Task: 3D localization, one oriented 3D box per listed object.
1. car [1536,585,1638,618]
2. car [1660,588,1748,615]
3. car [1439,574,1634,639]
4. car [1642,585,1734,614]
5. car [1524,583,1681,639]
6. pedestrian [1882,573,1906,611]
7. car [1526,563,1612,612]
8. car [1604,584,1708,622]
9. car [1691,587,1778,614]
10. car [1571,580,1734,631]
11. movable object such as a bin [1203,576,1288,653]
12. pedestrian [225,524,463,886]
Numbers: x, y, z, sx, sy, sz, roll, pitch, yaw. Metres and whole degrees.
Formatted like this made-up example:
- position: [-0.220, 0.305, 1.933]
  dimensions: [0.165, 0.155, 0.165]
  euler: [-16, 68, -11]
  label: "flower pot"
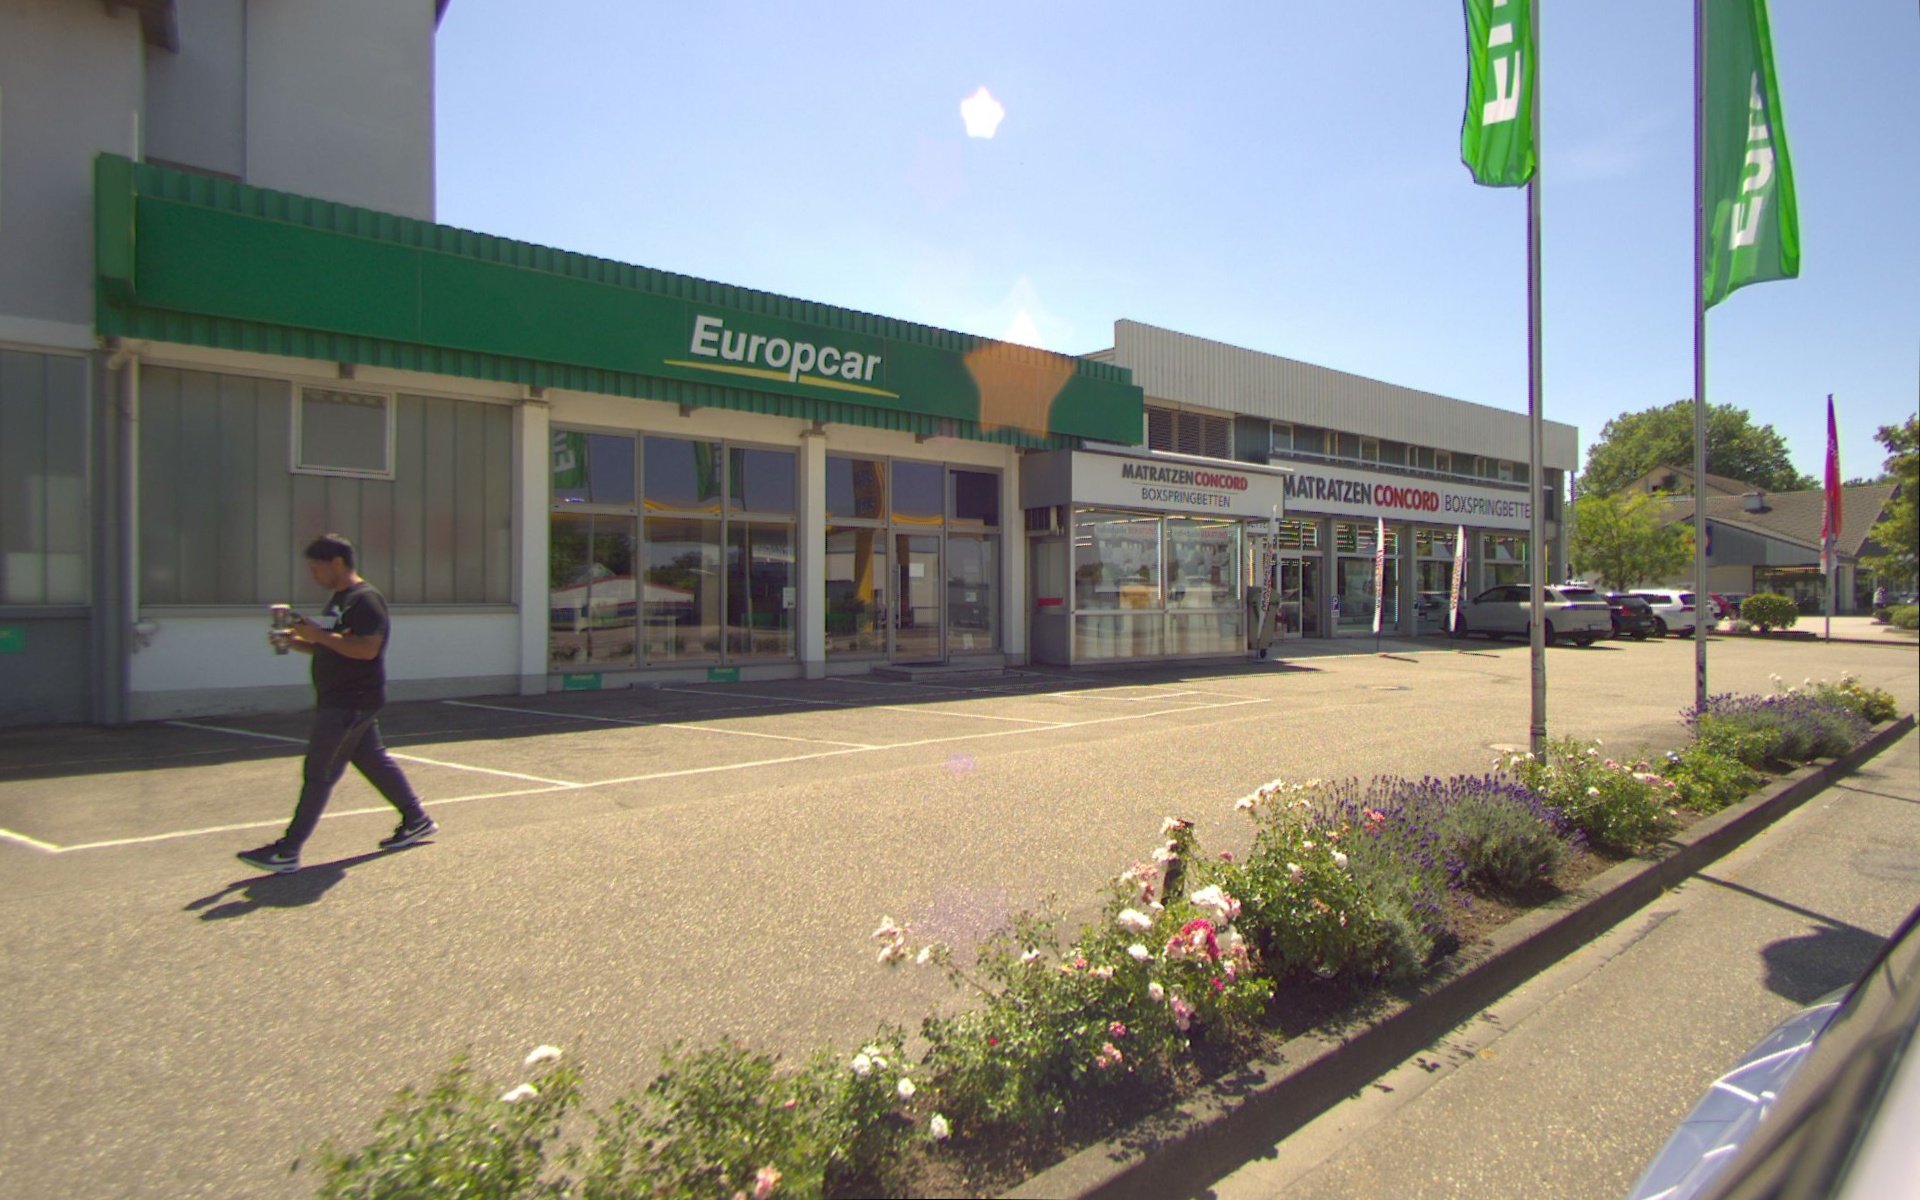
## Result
- position: [30.847, 0.067, 49.903]
  dimensions: [1.623, 1.551, 3.994]
  euler: [-1, 1, -41]
  label: "car"
- position: [41.669, 0.070, 56.729]
  dimensions: [1.713, 1.476, 3.608]
  euler: [0, 1, -36]
  label: "car"
- position: [16.173, 0.109, 28.705]
  dimensions: [1.958, 1.662, 4.607]
  euler: [0, 2, -21]
  label: "car"
- position: [39.792, -0.045, 55.405]
  dimensions: [1.784, 1.523, 3.734]
  euler: [0, 1, -36]
  label: "car"
- position: [20.002, 0.279, 31.690]
  dimensions: [1.643, 1.552, 3.876]
  euler: [0, 2, -22]
  label: "car"
- position: [50.977, -0.459, 55.232]
  dimensions: [0.789, 2.039, 0.784]
  euler: [0, 1, -37]
  label: "pedestrian"
- position: [24.668, -0.532, 40.967]
  dimensions: [4.181, 1.914, 1.709]
  euler: [-1, 2, -40]
  label: "car"
- position: [34.938, 0.107, 50.871]
  dimensions: [1.744, 1.813, 3.997]
  euler: [-1, 2, -38]
  label: "car"
- position: [44.032, 0.008, 57.608]
  dimensions: [1.640, 1.435, 3.608]
  euler: [0, 1, -36]
  label: "car"
- position: [22.369, 0.130, 32.849]
  dimensions: [1.768, 1.478, 4.008]
  euler: [0, 2, -24]
  label: "car"
- position: [5.868, 0.276, 20.870]
  dimensions: [0.688, 1.440, 1.570]
  euler: [0, 3, -33]
  label: "movable object such as a bin"
- position: [-3.202, 0.463, 5.262]
  dimensions: [0.991, 1.661, 0.843]
  euler: [0, 2, -36]
  label: "pedestrian"
